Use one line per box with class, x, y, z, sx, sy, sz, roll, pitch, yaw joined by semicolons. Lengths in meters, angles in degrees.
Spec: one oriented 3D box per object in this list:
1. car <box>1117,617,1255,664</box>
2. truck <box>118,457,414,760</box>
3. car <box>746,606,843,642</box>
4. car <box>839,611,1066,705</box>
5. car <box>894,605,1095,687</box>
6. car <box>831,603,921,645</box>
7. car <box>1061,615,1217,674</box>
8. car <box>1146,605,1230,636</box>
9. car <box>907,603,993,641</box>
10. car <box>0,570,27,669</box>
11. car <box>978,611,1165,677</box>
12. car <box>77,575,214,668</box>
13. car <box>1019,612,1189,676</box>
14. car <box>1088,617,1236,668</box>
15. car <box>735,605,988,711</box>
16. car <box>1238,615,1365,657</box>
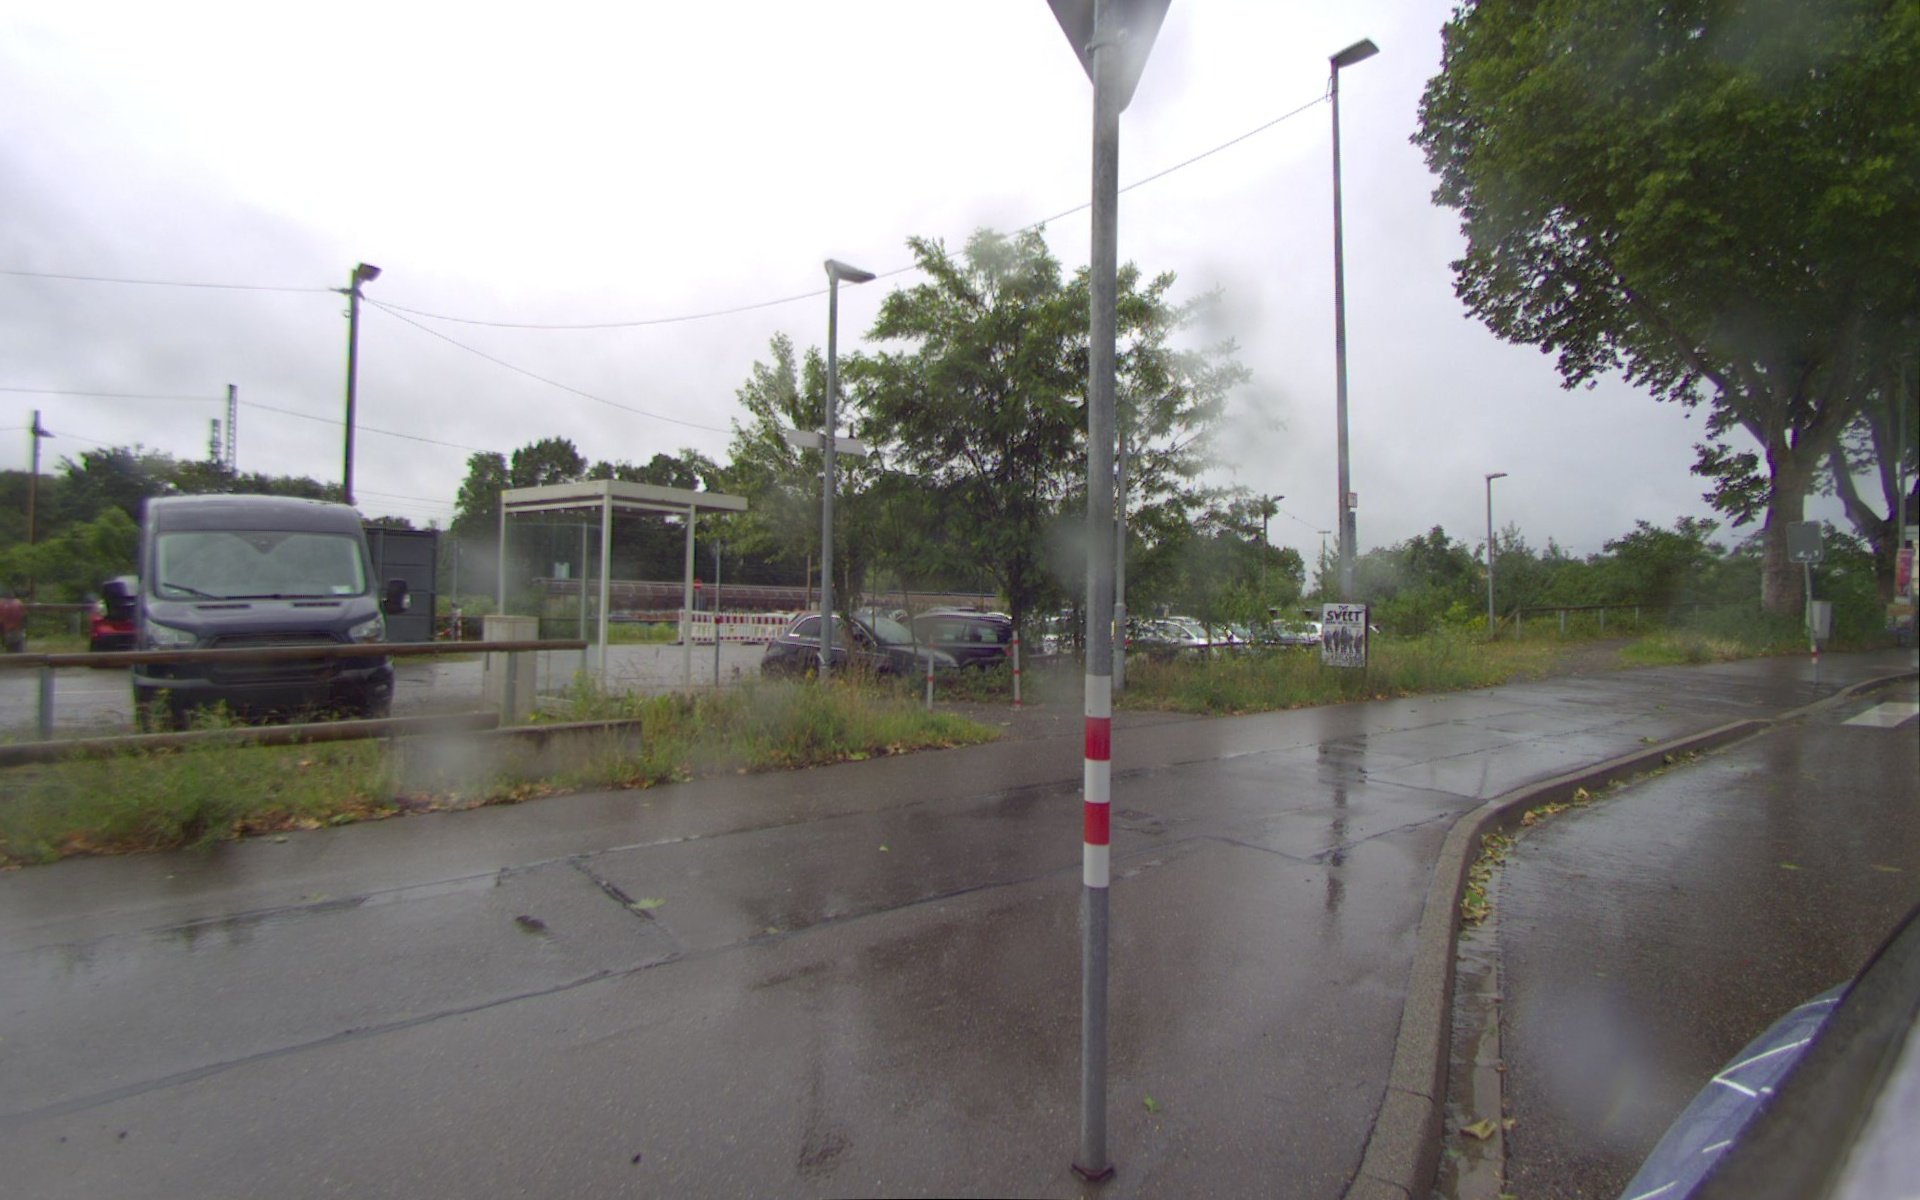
car;8.054;1.392;36.169;4.506;1.448;1.857;1;0;29
truck;-7.396;0.081;10.594;2.037;2.352;5.341;1;-1;-39
car;-7.635;1.093;46.840;4.024;1.527;1.859;1;0;-35
car;-0.154;1.030;19.363;3.963;1.522;1.858;1;0;28
car;0.740;0.932;21.987;3.963;1.542;1.858;1;0;28
car;-3.395;0.913;40.421;1.922;1.492;4.002;1;0;-32
car;5.604;1.346;31.826;4.506;1.579;1.857;1;0;29
car;11.481;1.009;51.179;1.782;1.393;4.002;1;0;-32
car;-0.477;0.909;42.701;1.782;1.456;4.002;1;0;-32
car;-16.828;0.303;16.632;1.773;1.556;3.964;0;2;-37
car;2.930;1.102;26.939;4.605;1.503;1.857;1;0;29
car;-14.946;0.298;18.743;1.808;1.467;3.999;0;2;-37
car;4.112;1.211;29.098;4.506;1.579;1.857;1;0;29
car;6.782;1.385;34.205;4.515;1.484;1.979;1;0;34
car;-1.675;0.883;16.962;3.963;1.508;1.688;1;0;28
car;13.327;1.364;39.633;4.376;1.448;1.849;1;0;40
